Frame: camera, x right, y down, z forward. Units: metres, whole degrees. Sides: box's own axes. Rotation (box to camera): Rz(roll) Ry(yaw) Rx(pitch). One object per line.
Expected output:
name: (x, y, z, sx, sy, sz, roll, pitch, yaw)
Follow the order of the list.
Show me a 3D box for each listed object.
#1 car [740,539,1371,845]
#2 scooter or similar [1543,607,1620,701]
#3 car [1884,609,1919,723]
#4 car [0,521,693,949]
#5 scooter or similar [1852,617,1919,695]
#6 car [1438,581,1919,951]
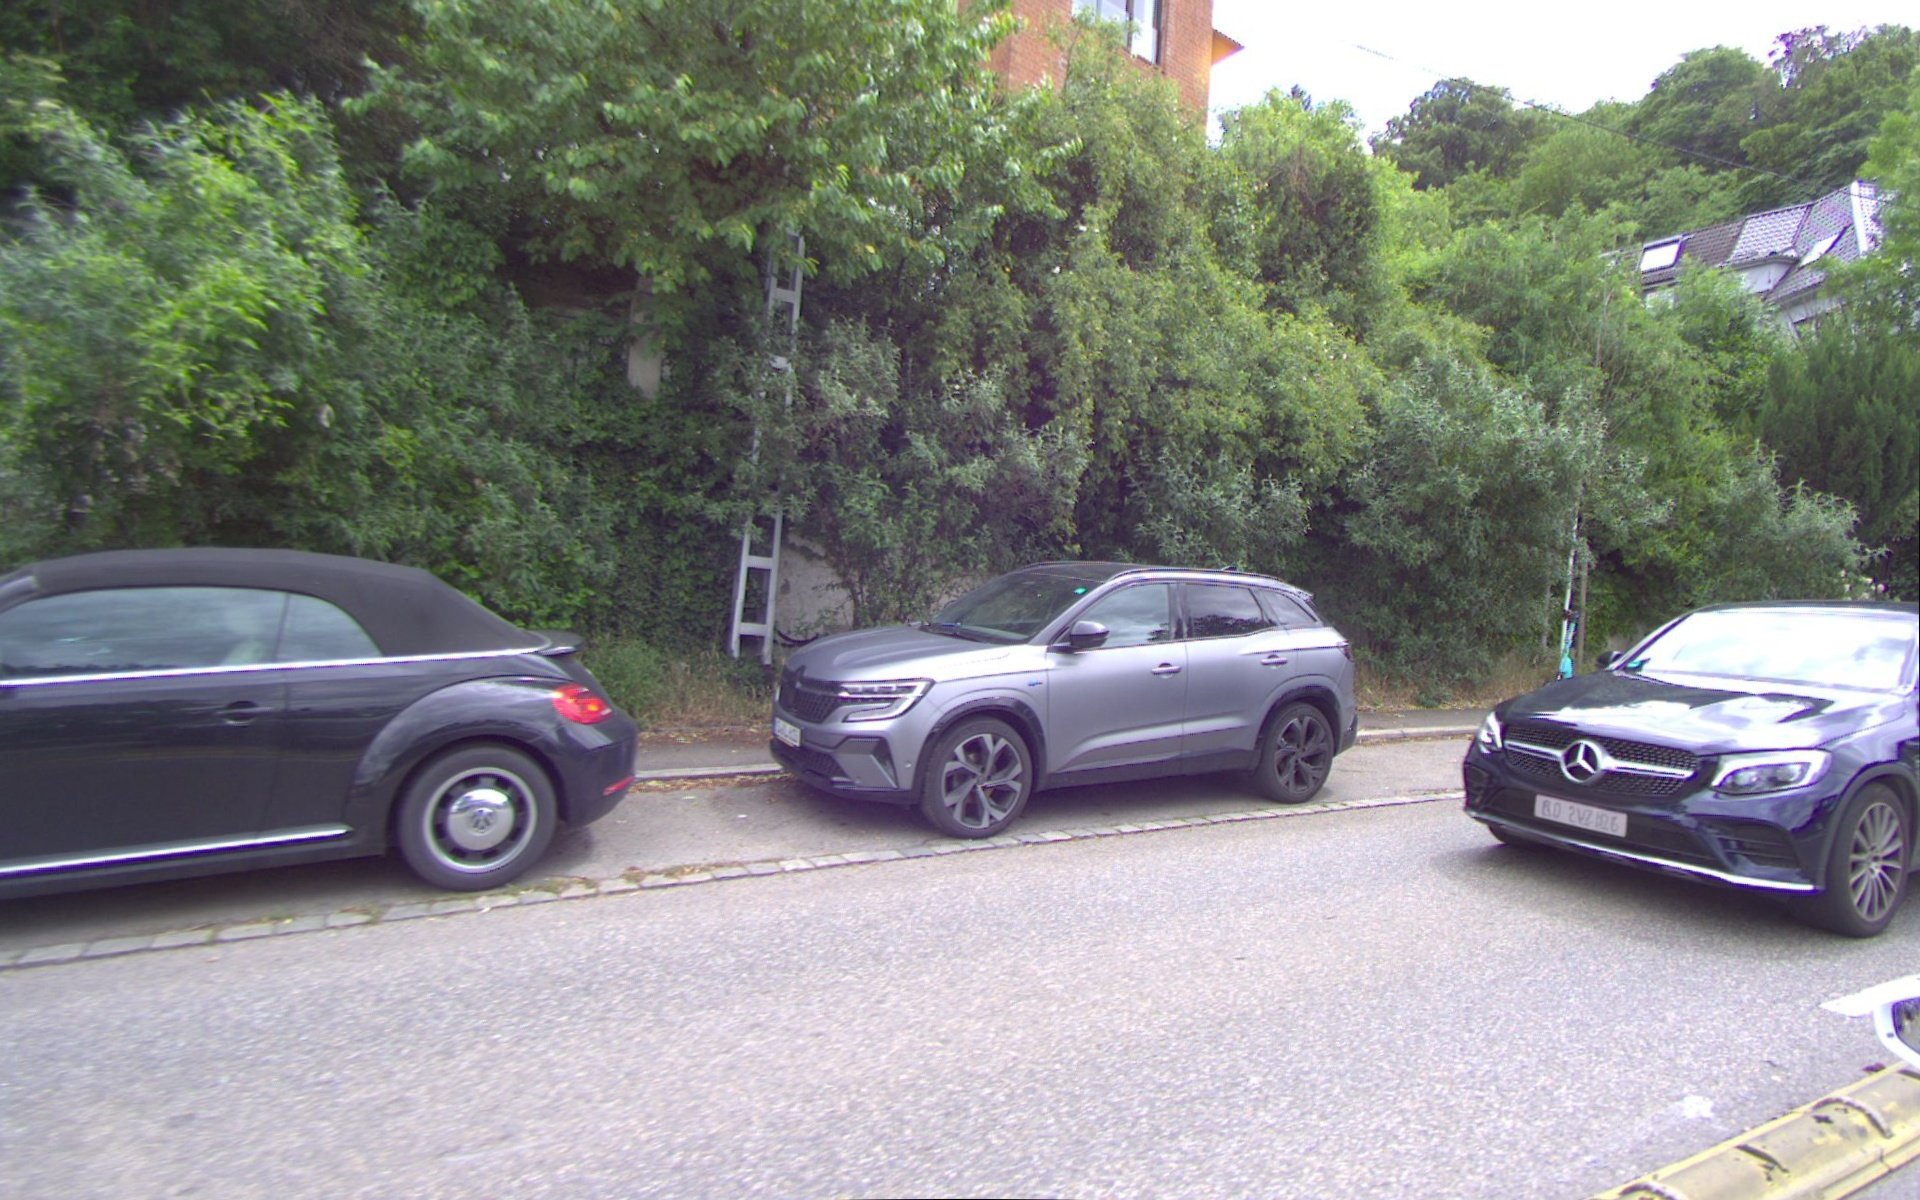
car: (0.740, 0.500, 7.053, 4.135, 1.627, 1.679, 2, 2, -28)
scooter or similar: (8.438, 0.725, 13.636, 1.033, 1.229, 0.347, 1, 3, -28)
car: (14.893, 0.957, 13.439, 4.612, 1.471, 1.733, 2, 3, -20)
car: (-3.455, 0.451, 4.597, 3.956, 1.530, 1.784, 2, 2, -32)
scooter or similar: (15.559, 0.935, 16.763, 1.103, 1.248, 0.415, 2, 2, -17)
car: (5.088, 0.738, 6.005, 4.172, 1.589, 1.762, 1, 1, -25)
